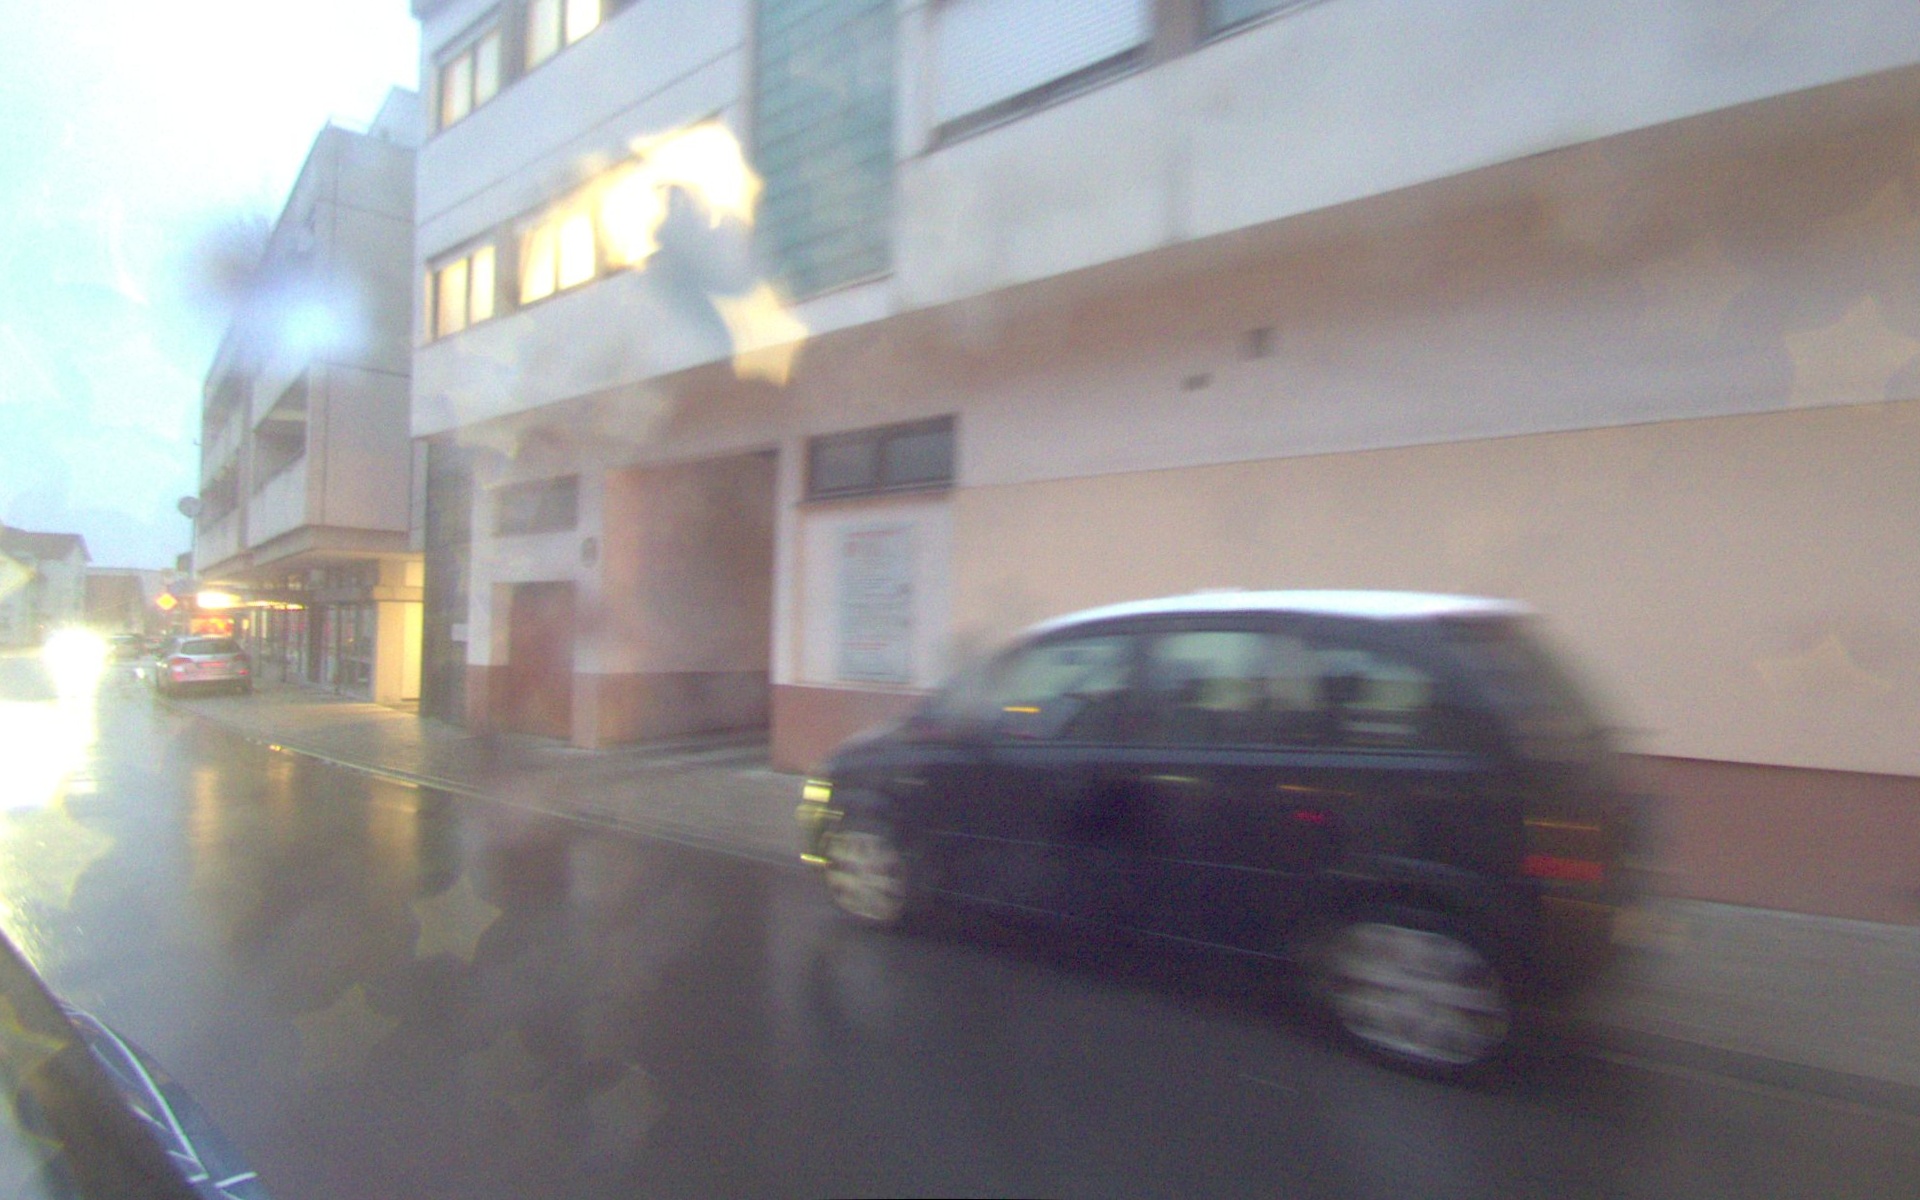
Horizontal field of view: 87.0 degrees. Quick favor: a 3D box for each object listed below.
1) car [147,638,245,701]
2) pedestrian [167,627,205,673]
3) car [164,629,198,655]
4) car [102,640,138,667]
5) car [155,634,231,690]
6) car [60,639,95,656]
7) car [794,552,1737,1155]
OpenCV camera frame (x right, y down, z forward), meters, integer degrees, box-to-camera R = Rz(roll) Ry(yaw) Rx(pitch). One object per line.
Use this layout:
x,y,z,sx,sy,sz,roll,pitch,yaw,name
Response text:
-19.974,1.742,26.386,1.655,1.457,4.433,-1,-1,-42,car
-33.483,2.175,43.784,1.182,1.953,0.979,2,-4,-34,pedestrian
-84.346,4.510,109.591,2.013,2.680,4.223,-1,-2,-25,car
-53.465,3.376,64.436,1.699,1.626,3.822,-1,-1,-40,car
-23.194,1.828,30.555,1.595,1.544,3.934,0,-2,-40,car
-81.803,4.396,93.828,1.770,1.522,4.011,4,-4,-33,car
1.148,0.749,4.723,3.810,1.655,1.775,-2,-2,41,car
